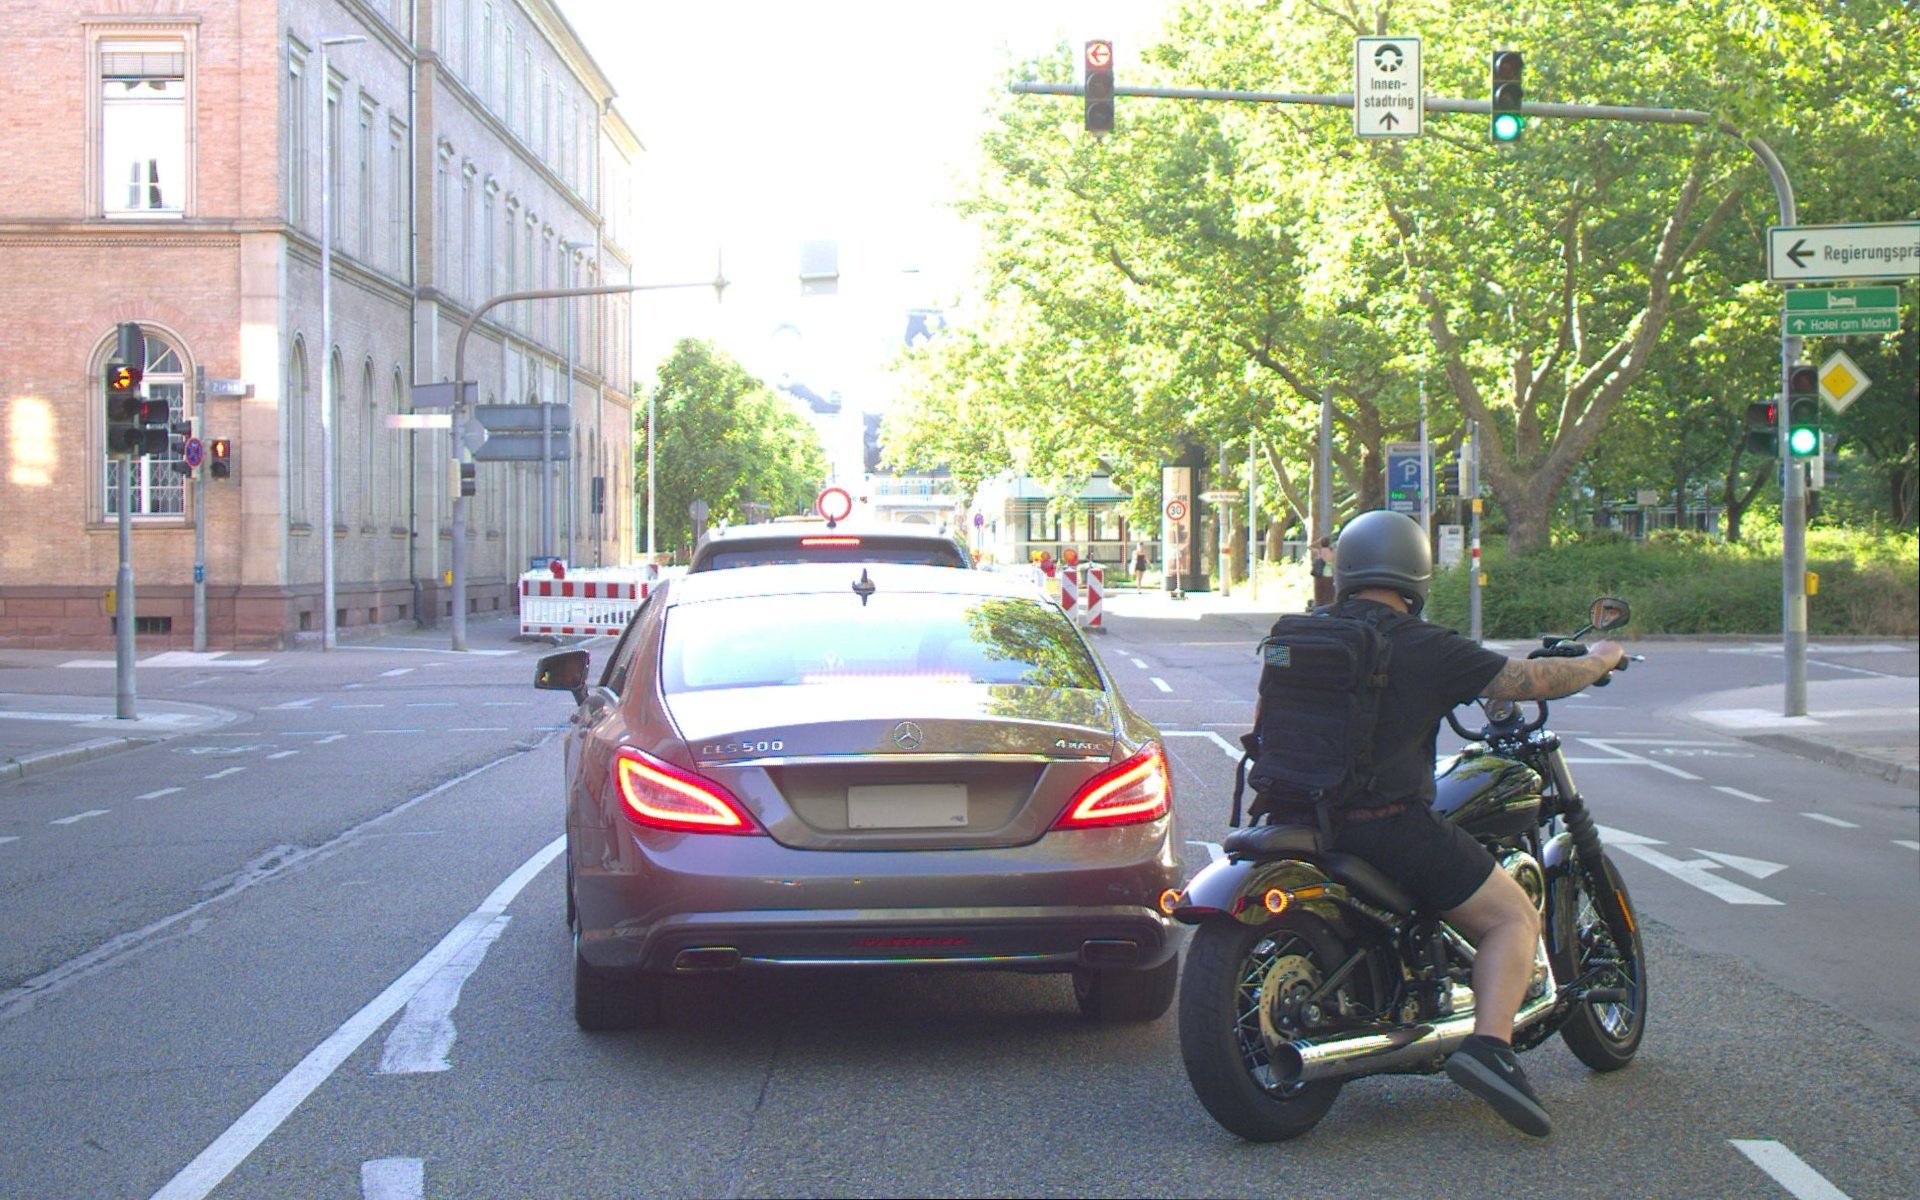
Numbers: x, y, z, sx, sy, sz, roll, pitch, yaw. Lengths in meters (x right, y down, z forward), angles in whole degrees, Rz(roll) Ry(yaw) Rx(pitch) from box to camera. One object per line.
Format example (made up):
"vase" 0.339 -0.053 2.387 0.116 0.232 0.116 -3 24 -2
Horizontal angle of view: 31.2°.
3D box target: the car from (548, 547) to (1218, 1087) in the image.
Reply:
"car" -0.462 0.558 11.640 1.821 1.471 4.354 0 1 -7

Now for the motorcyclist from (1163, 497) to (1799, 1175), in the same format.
"motorcyclist" 1.350 0.545 8.954 1.198 1.607 1.116 -1 1 -39

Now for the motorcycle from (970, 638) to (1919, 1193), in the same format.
"motorcycle" 1.379 0.734 9.074 2.657 1.200 1.010 -1 1 -39

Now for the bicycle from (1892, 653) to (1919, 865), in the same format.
"bicycle" 5.039 0.804 16.496 0.610 1.023 1.731 2 1 -1

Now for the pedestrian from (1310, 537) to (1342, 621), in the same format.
"pedestrian" 7.300 -0.425 68.586 0.559 1.672 0.565 0 1 -1

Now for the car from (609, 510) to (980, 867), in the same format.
"car" -0.810 0.373 17.530 1.681 1.619 3.841 0 1 -2

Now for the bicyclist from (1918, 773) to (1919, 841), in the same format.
"bicyclist" 5.045 0.443 16.467 0.610 1.511 0.890 2 1 -1
